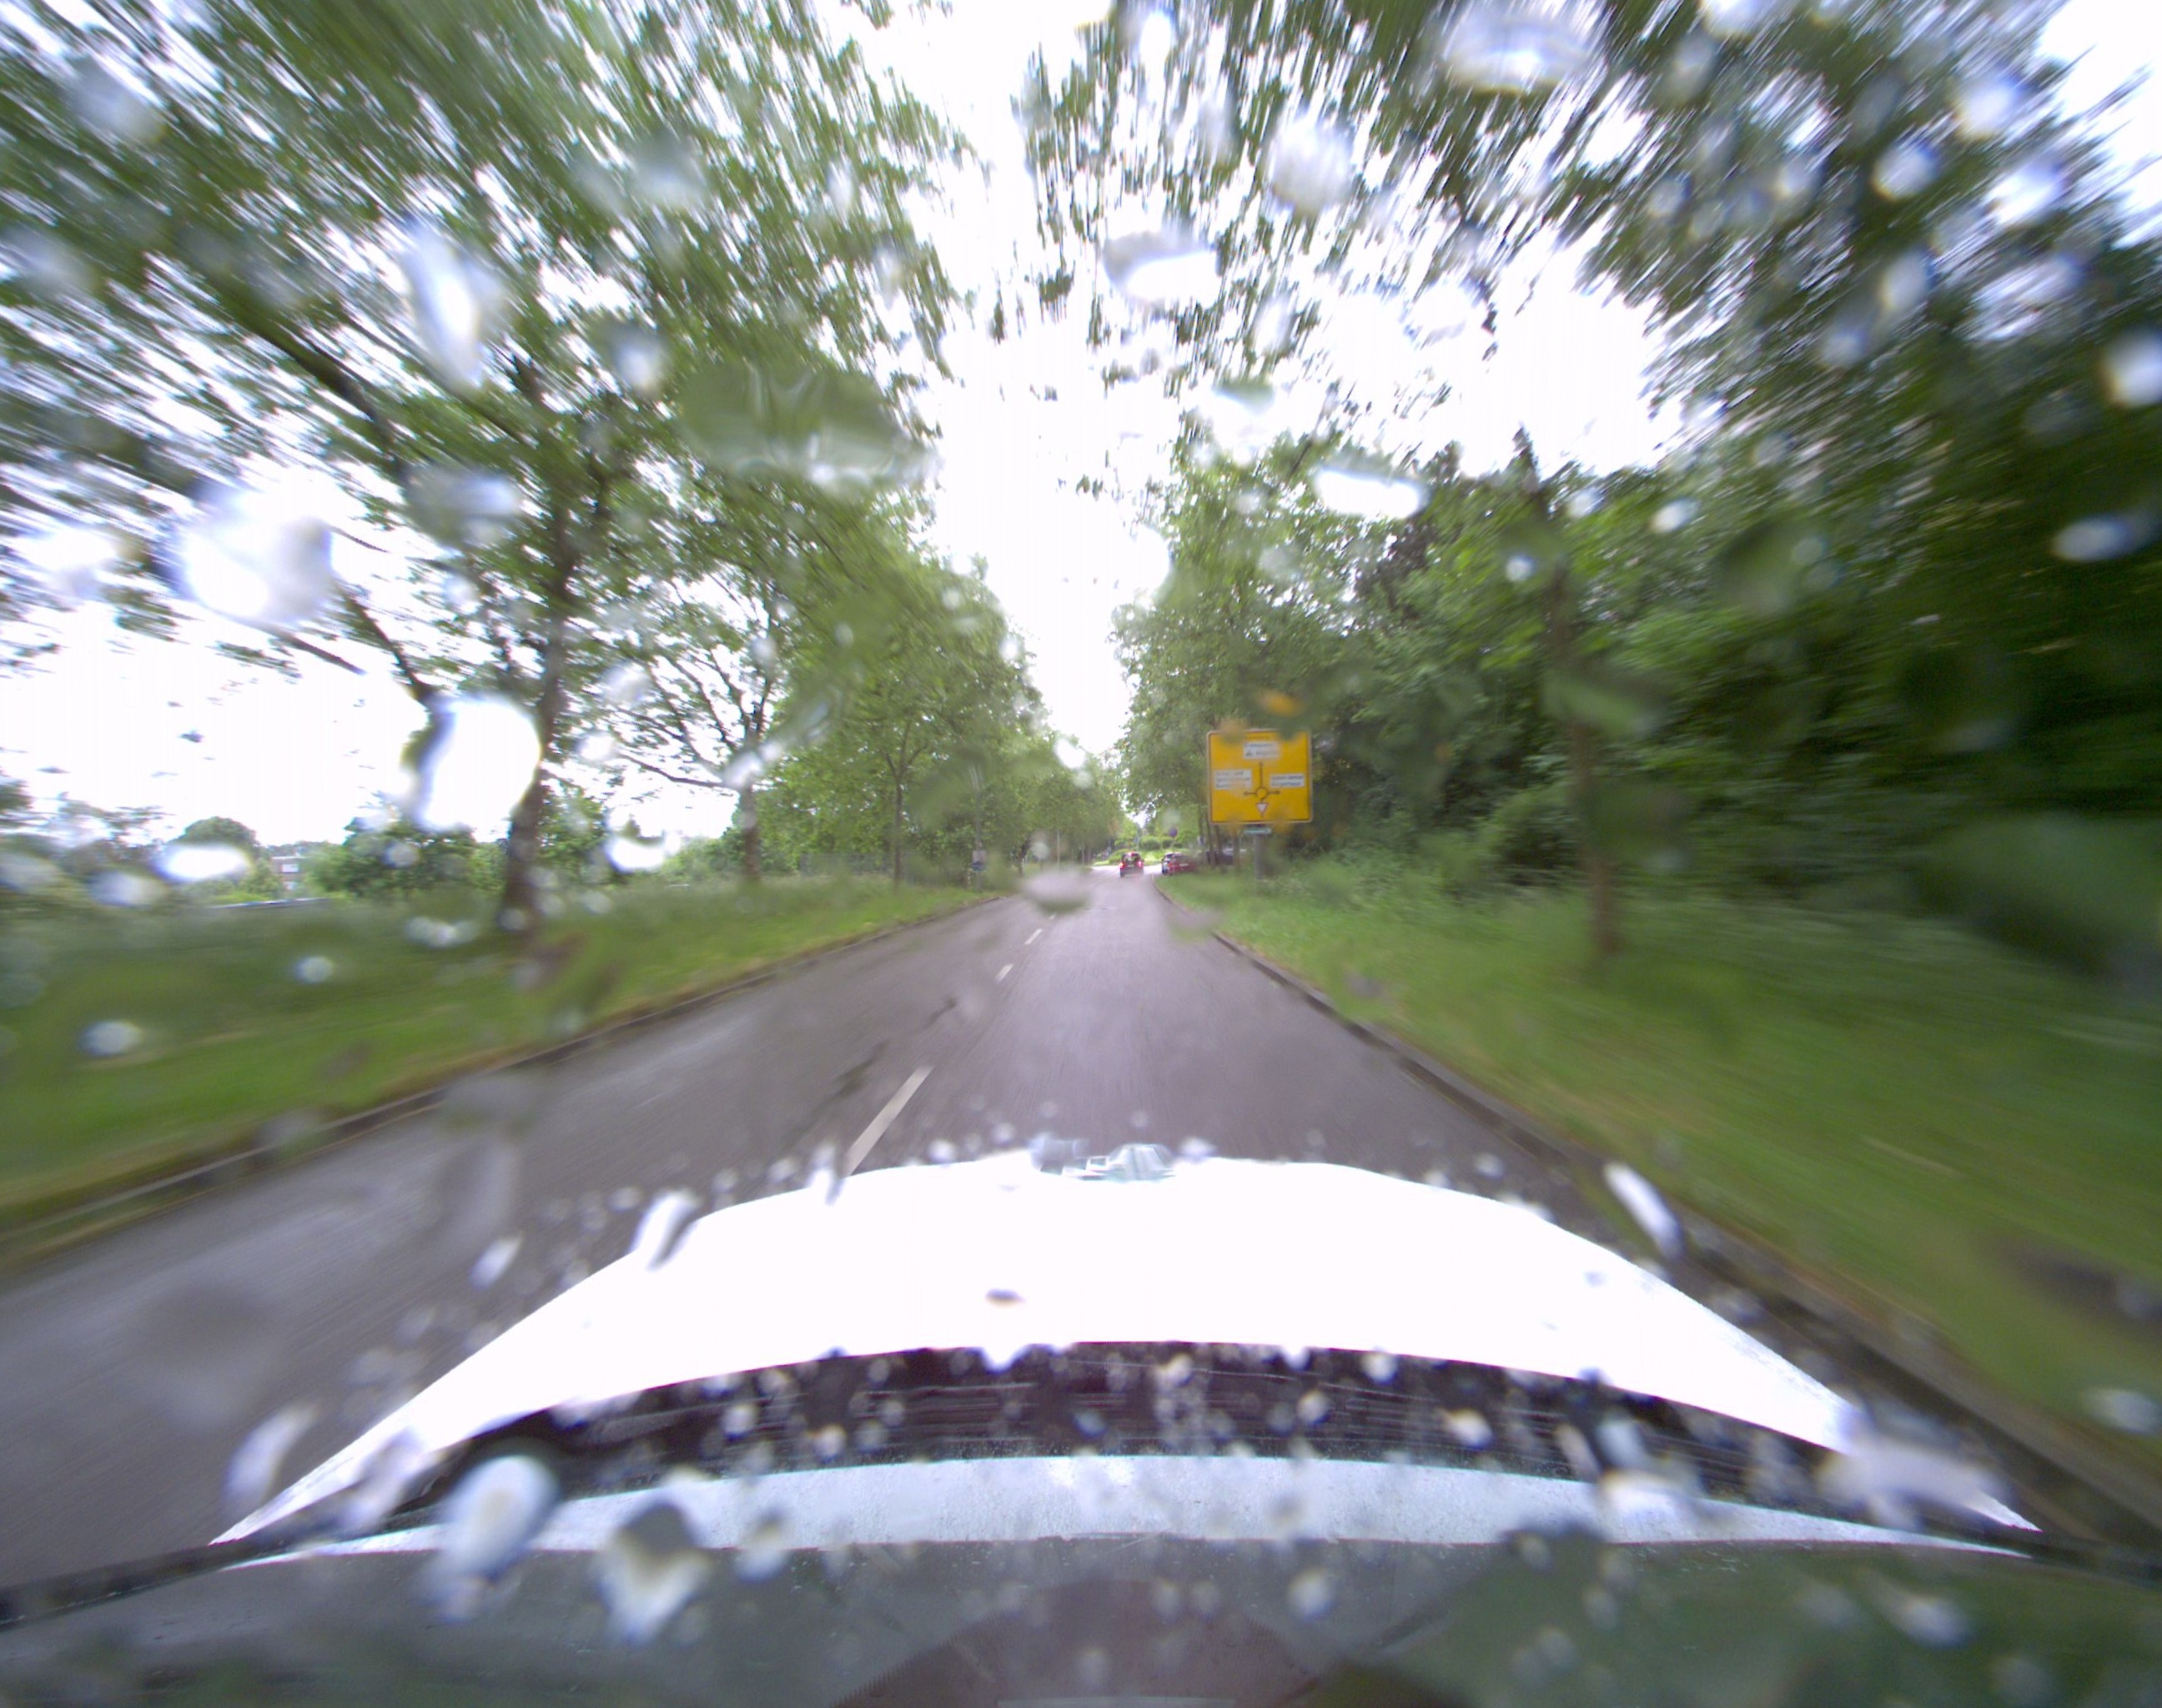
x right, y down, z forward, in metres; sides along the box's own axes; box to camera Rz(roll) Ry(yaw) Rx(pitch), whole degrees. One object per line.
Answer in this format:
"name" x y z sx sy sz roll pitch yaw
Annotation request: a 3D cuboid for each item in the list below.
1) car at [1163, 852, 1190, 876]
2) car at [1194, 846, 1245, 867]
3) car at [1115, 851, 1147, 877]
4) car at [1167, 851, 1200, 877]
"car" 6.972 0.716 59.700 1.720 1.591 4.259 -4 -1 5
"car" 12.592 0.205 74.293 4.447 1.680 1.771 -2 1 6
"car" 3.933 0.744 63.348 1.907 1.801 3.801 -6 0 10
"car" 6.059 0.599 48.431 1.788 1.372 3.749 -4 -1 5
